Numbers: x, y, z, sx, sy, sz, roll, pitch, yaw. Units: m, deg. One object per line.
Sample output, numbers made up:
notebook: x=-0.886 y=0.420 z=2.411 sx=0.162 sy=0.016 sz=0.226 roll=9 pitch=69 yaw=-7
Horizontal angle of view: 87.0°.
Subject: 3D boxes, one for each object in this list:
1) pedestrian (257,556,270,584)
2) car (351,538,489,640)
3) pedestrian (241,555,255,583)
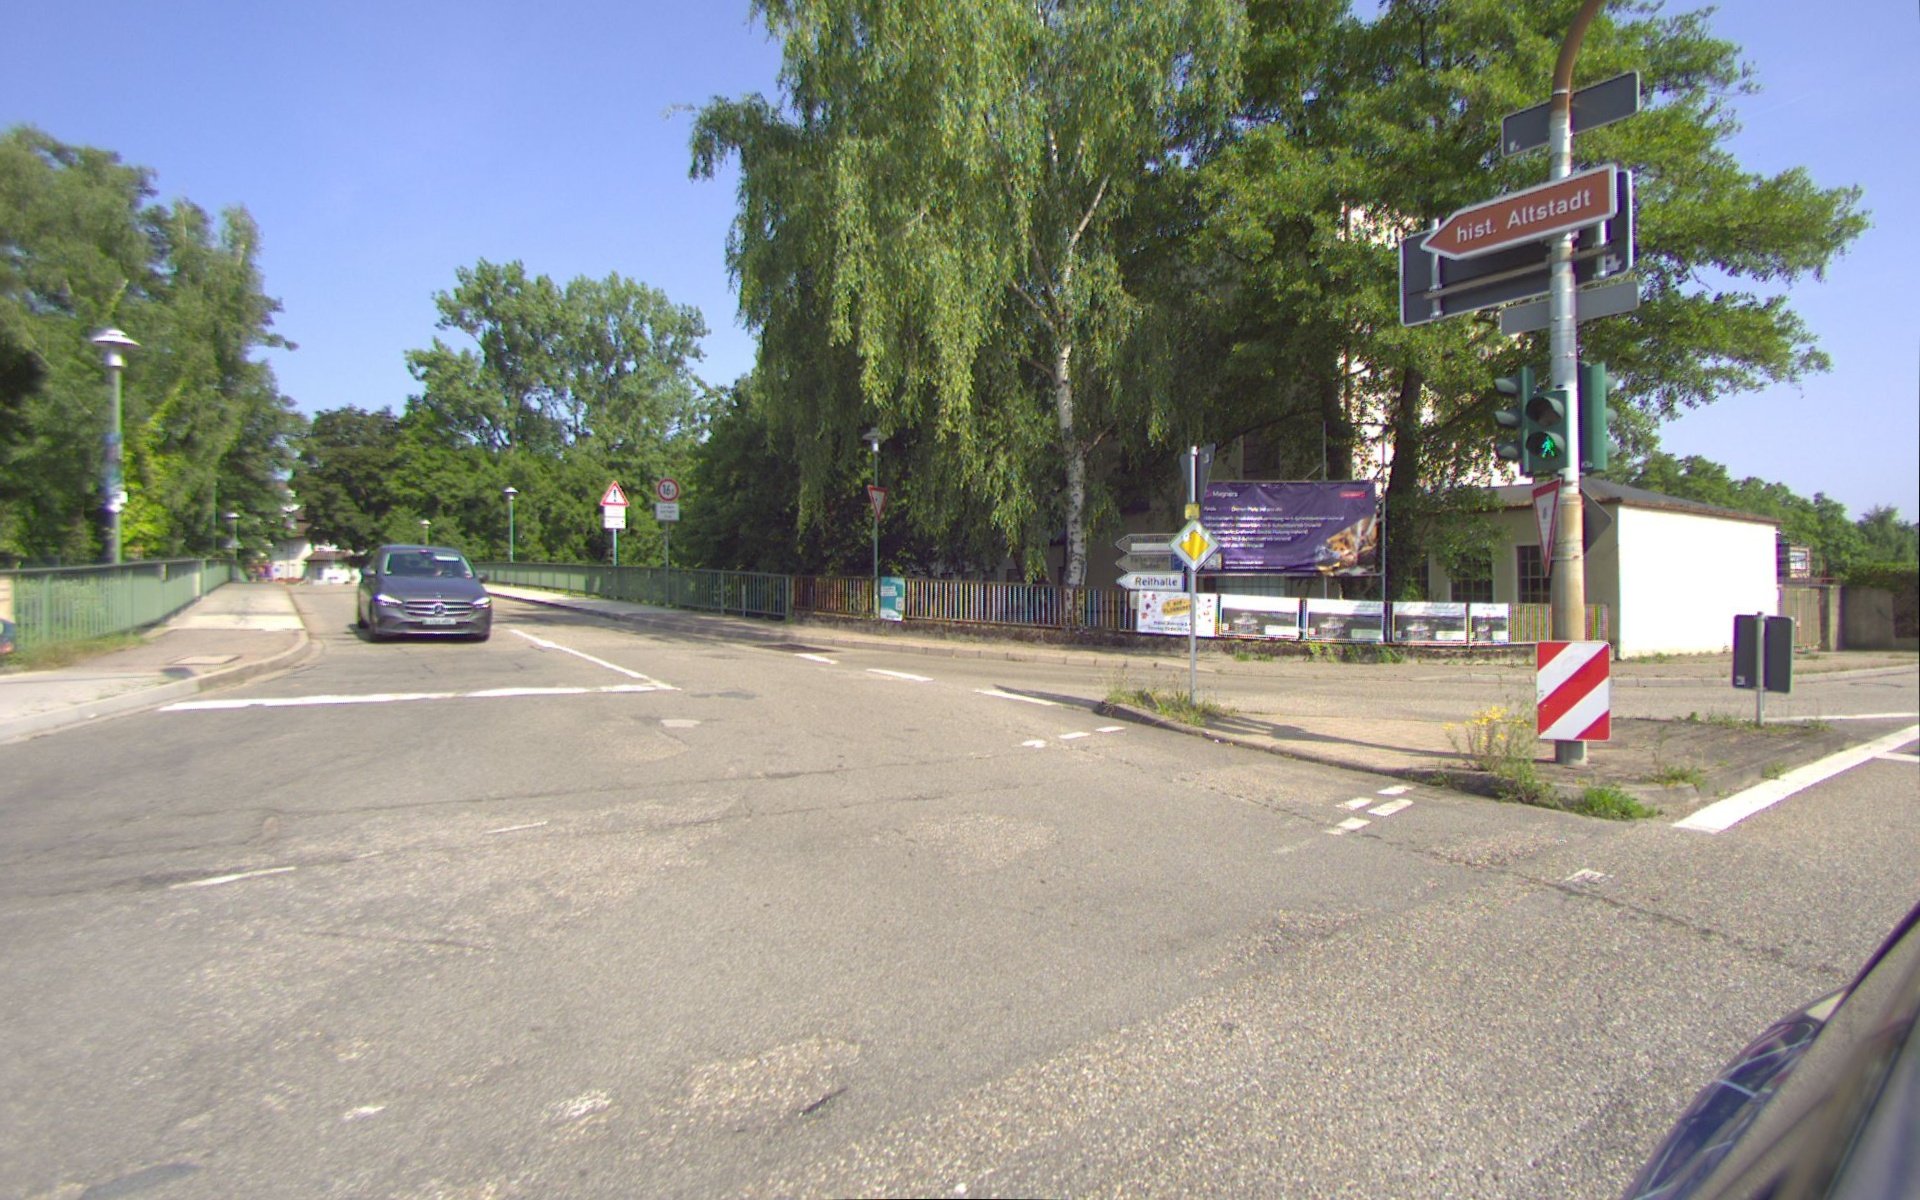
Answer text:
pedestrian: x=-48.529 y=-2.109 z=70.530 sx=0.725 sy=1.927 sz=0.628 roll=0 pitch=0 yaw=-40
car: x=-9.400 y=-0.251 z=17.463 sx=1.636 sy=1.537 sz=4.086 roll=0 pitch=2 yaw=-35
pedestrian: x=-49.210 y=-2.119 z=69.934 sx=0.725 sy=1.911 sz=0.628 roll=0 pitch=0 yaw=-40
